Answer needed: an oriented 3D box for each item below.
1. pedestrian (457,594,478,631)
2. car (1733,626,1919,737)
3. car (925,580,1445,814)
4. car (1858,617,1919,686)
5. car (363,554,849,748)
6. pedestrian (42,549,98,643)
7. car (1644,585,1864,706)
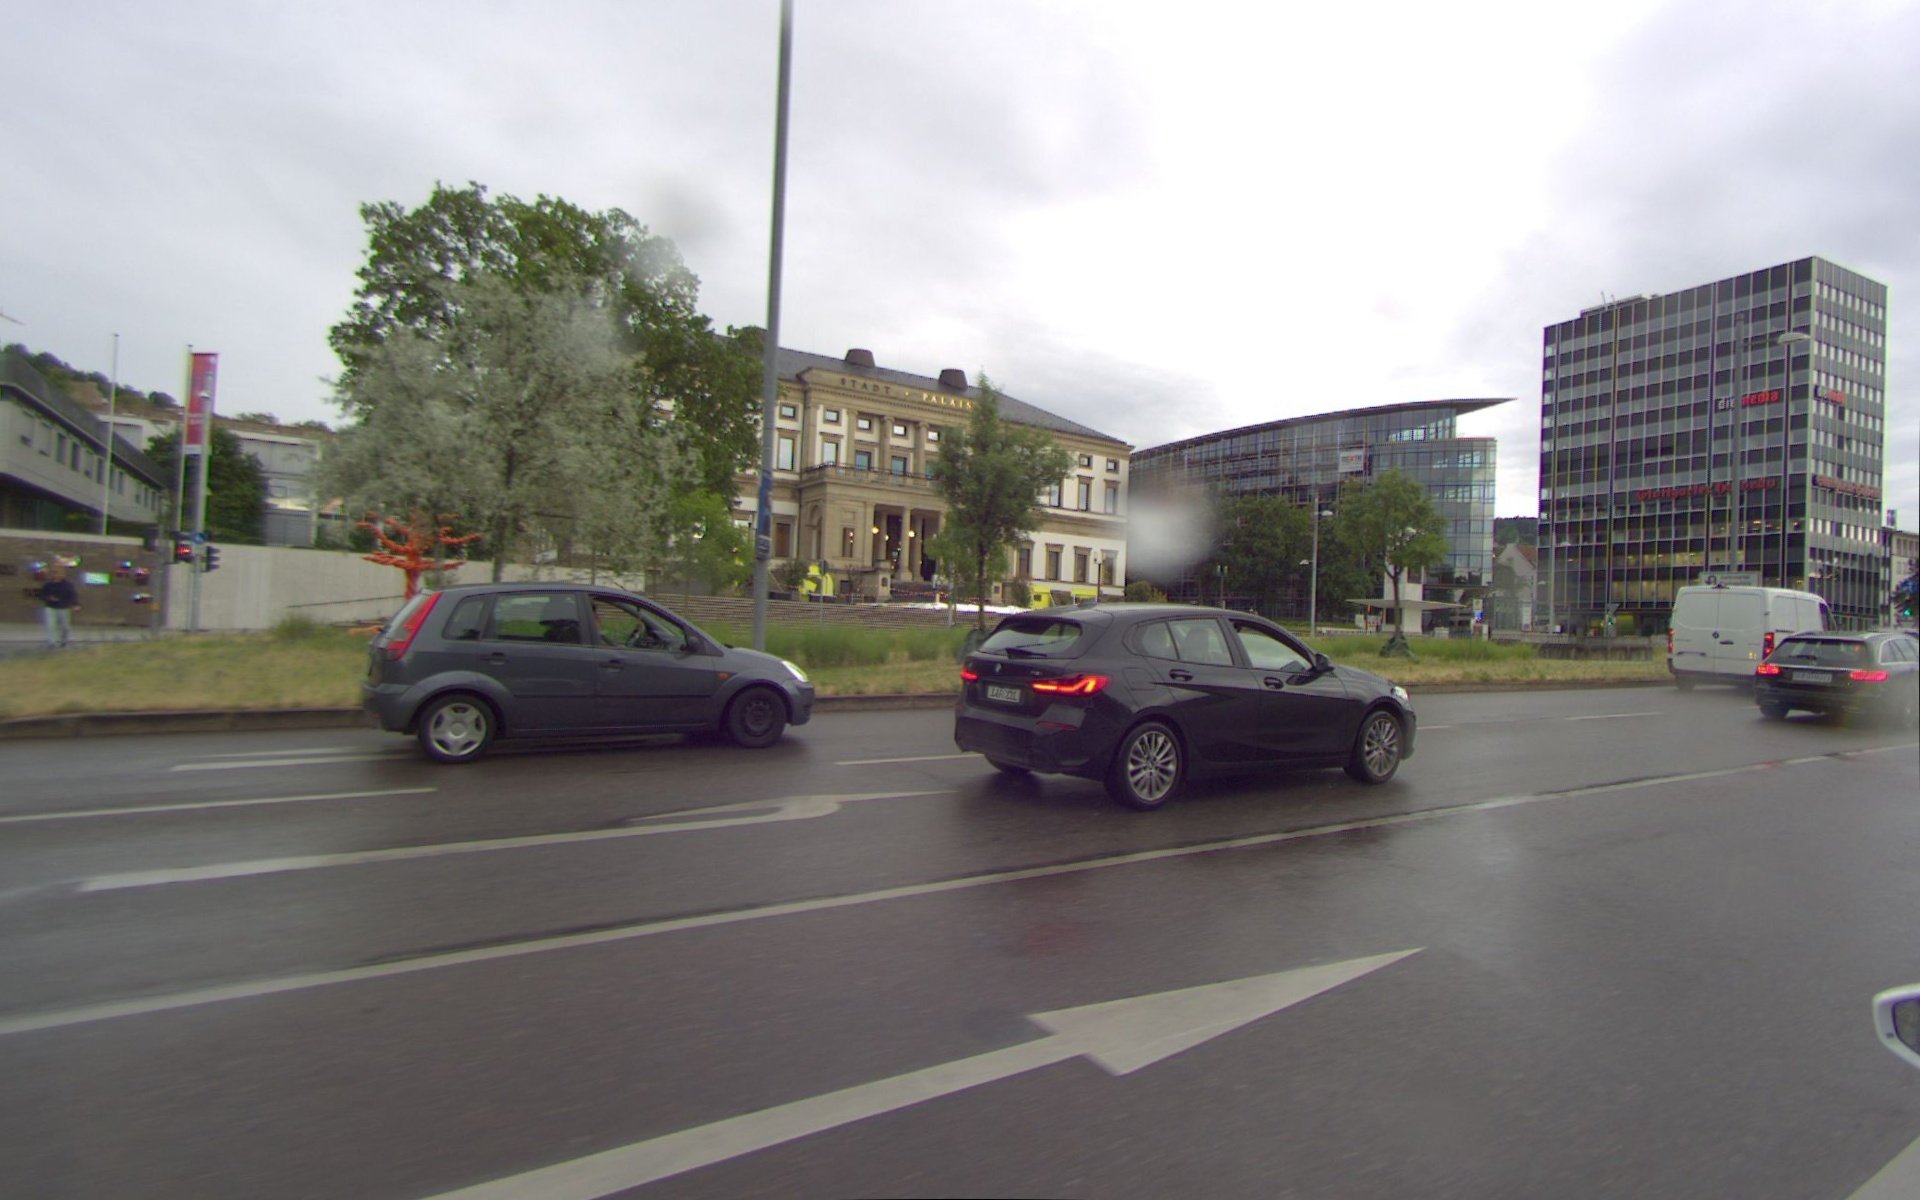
[{"bbox_3d":[-19.899,0.499,40.587,0.627,1.441,0.489,5,-1,-35],"label":"pedestrian"},{"bbox_3d":[14.191,1.256,15.978,3.358,1.514,1.821,3,0,-29],"label":"car"},{"bbox_3d":[1.966,0.708,8.315,4.177,1.491,1.743,3,0,-33],"label":"car"},{"bbox_3d":[26.371,1.472,27.806,3.109,1.728,1.455,5,-1,-34],"label":"car"},{"bbox_3d":[-3.104,0.467,9.064,3.859,1.434,1.534,4,-1,-32],"label":"car"},{"bbox_3d":[-20.506,-0.108,23.170,0.716,2.120,0.764,-2,2,-27],"label":"pedestrian"},{"bbox_3d":[18.166,1.057,22.934,4.950,2.344,2.281,5,-1,-31],"label":"car"}]
